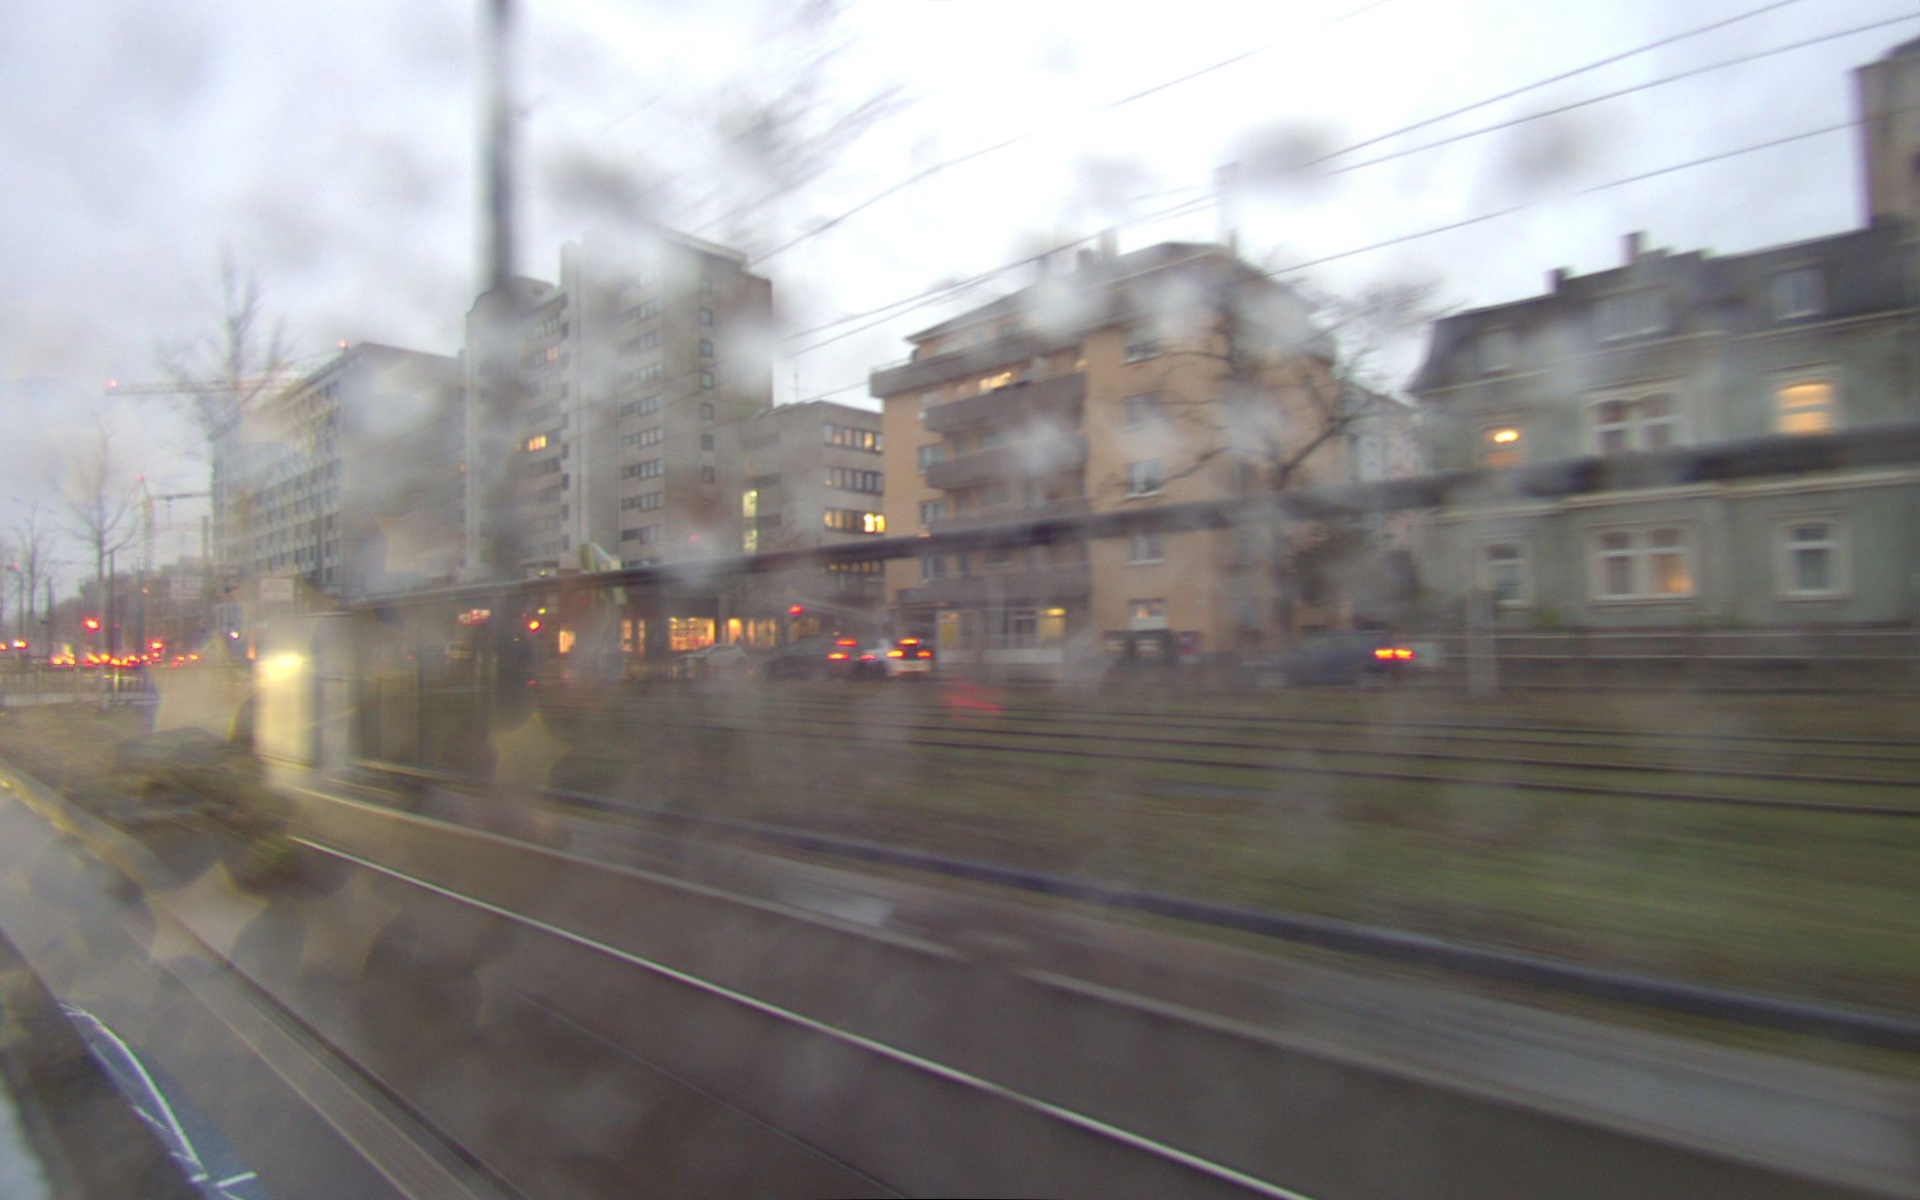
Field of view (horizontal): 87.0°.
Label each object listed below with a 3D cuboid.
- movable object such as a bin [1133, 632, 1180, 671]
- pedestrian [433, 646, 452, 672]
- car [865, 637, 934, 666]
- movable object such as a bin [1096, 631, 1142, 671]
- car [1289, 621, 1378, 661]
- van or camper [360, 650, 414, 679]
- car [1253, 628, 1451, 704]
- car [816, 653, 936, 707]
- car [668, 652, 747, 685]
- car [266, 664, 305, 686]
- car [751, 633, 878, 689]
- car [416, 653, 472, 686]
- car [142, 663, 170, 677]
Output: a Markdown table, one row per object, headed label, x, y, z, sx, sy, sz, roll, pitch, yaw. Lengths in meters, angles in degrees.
| label | x | y | z | sx | sy | sz | roll | pitch | yaw |
| --- | --- | --- | --- | --- | --- | --- | --- | --- | --- |
| movable object such as a bin | 7.661 | 1.997 | 39.475 | 1.423 | 1.492 | 1.096 | -4 | -4 | 40 |
| pedestrian | -29.808 | 3.389 | 58.259 | 0.629 | 1.501 | 0.783 | -3 | -3 | 35 |
| car | -3.403 | 2.906 | 57.403 | 1.777 | 1.564 | 3.786 | -3 | -3 | 41 |
| movable object such as a bin | 6.377 | 2.034 | 40.565 | 1.423 | 1.573 | 1.096 | -4 | -4 | 40 |
| car | 14.071 | 1.536 | 38.004 | 1.832 | 1.417 | 3.946 | -4 | -3 | 40 |
| van or camper | -44.246 | 4.993 | 78.090 | 5.653 | 2.113 | 1.972 | -4 | -3 | 43 |
| car | 9.502 | 1.606 | 24.643 | 4.101 | 1.705 | 1.976 | -3 | -4 | 35 |
| car | -2.906 | 2.661 | 34.419 | 3.998 | 1.597 | 1.782 | -3 | -1 | 42 |
| car | -13.816 | 3.738 | 55.524 | 1.685 | 1.523 | 3.945 | -3 | -1 | 41 |
| car | -54.158 | 5.972 | 81.293 | 1.965 | 1.557 | 4.719 | -1 | -2 | -25 |
| car | -4.635 | 1.899 | 32.005 | 3.998 | 1.597 | 1.782 | -3 | -1 | 42 |
| car | -37.111 | 4.967 | 72.889 | 1.970 | 2.029 | 4.578 | -2 | 0 | -5 |
| car | -87.995 | 7.640 | 110.773 | 3.871 | 1.460 | 1.731 | -3 | -2 | 41 |
